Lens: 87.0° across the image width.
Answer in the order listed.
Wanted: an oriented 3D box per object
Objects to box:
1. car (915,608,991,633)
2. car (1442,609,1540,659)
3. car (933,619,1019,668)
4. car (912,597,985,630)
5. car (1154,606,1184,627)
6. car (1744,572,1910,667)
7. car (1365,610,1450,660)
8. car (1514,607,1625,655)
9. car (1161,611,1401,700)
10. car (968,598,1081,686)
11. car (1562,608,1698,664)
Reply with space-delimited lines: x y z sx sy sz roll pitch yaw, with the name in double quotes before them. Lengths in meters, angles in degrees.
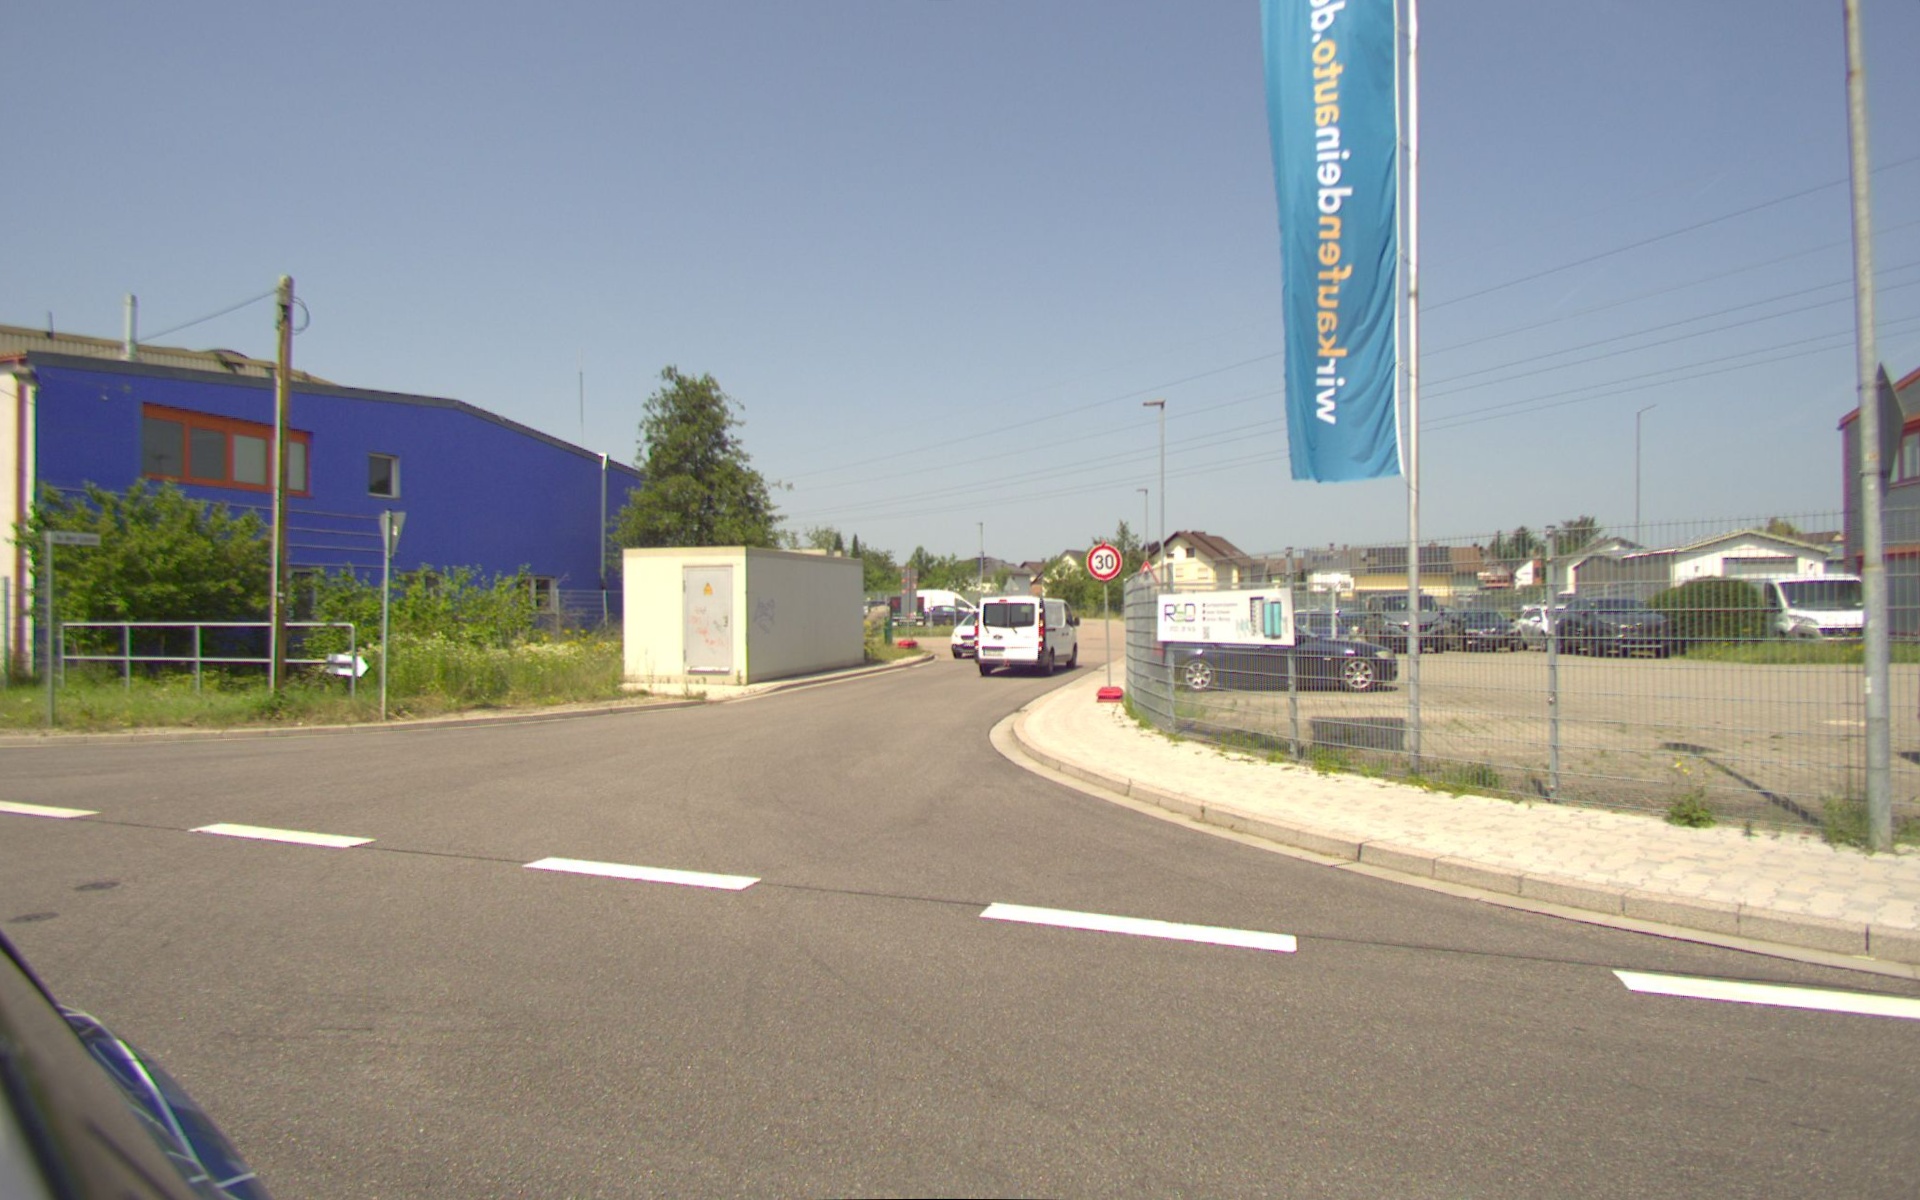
"car" -0.412 1.254 61.815 4.518 1.438 1.997 -1 -1 4
"car" 17.340 1.090 33.258 1.757 1.514 3.985 -1 -1 12
"car" 0.603 1.412 33.991 1.760 1.514 4.137 -1 -1 18
"car" -0.736 0.851 64.792 4.587 2.029 2.000 -1 -1 0
"car" 15.616 1.213 75.446 1.760 1.514 4.138 -1 -1 17
"car" 21.903 0.499 25.805 1.988 2.212 4.287 -1 -1 24
"car" 14.777 1.134 33.619 1.757 1.514 3.985 -1 -1 12
"car" 19.365 0.981 32.382 1.881 1.431 4.180 -1 -1 14
"car" 5.798 1.005 18.588 3.965 1.514 1.765 -1 -1 17
"car" 1.818 1.040 26.692 1.991 2.076 4.788 0 -1 16
"car" 18.263 0.959 27.808 1.856 1.431 4.057 -1 -1 14
